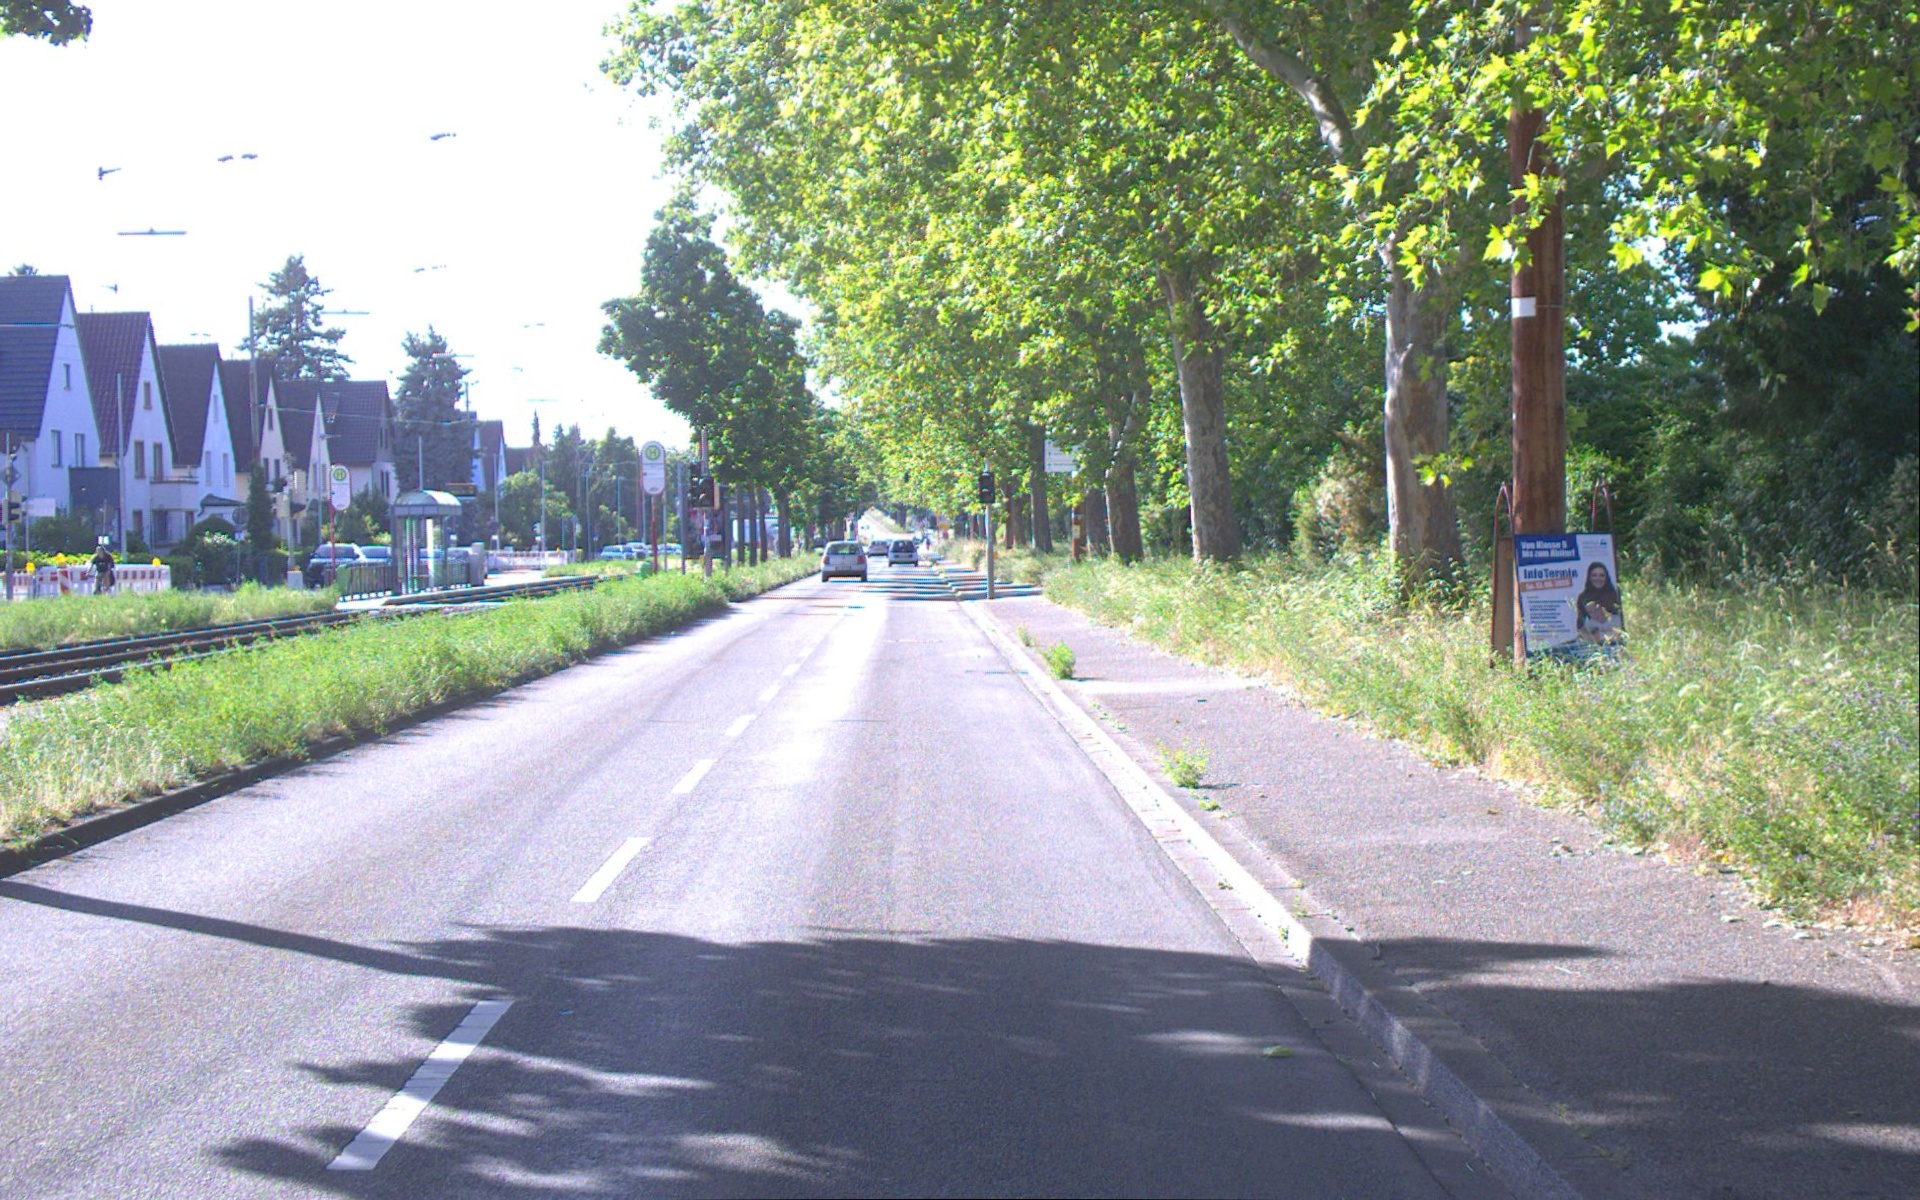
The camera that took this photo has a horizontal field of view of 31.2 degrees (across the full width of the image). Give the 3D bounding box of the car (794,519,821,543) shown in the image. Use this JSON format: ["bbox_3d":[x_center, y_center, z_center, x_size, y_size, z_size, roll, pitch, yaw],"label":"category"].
[{"bbox_3d":[-9.568,-4.317,216.150,1.527,1.450,3.287,0,1,0],"label":"car"}]

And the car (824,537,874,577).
[{"bbox_3d":[-3.978,-1.538,123.166,1.738,1.396,3.277,0,1,-1],"label":"car"}]

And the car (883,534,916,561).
[{"bbox_3d":[-3.363,-2.920,192.196,1.761,1.508,3.277,0,1,0],"label":"car"}]
